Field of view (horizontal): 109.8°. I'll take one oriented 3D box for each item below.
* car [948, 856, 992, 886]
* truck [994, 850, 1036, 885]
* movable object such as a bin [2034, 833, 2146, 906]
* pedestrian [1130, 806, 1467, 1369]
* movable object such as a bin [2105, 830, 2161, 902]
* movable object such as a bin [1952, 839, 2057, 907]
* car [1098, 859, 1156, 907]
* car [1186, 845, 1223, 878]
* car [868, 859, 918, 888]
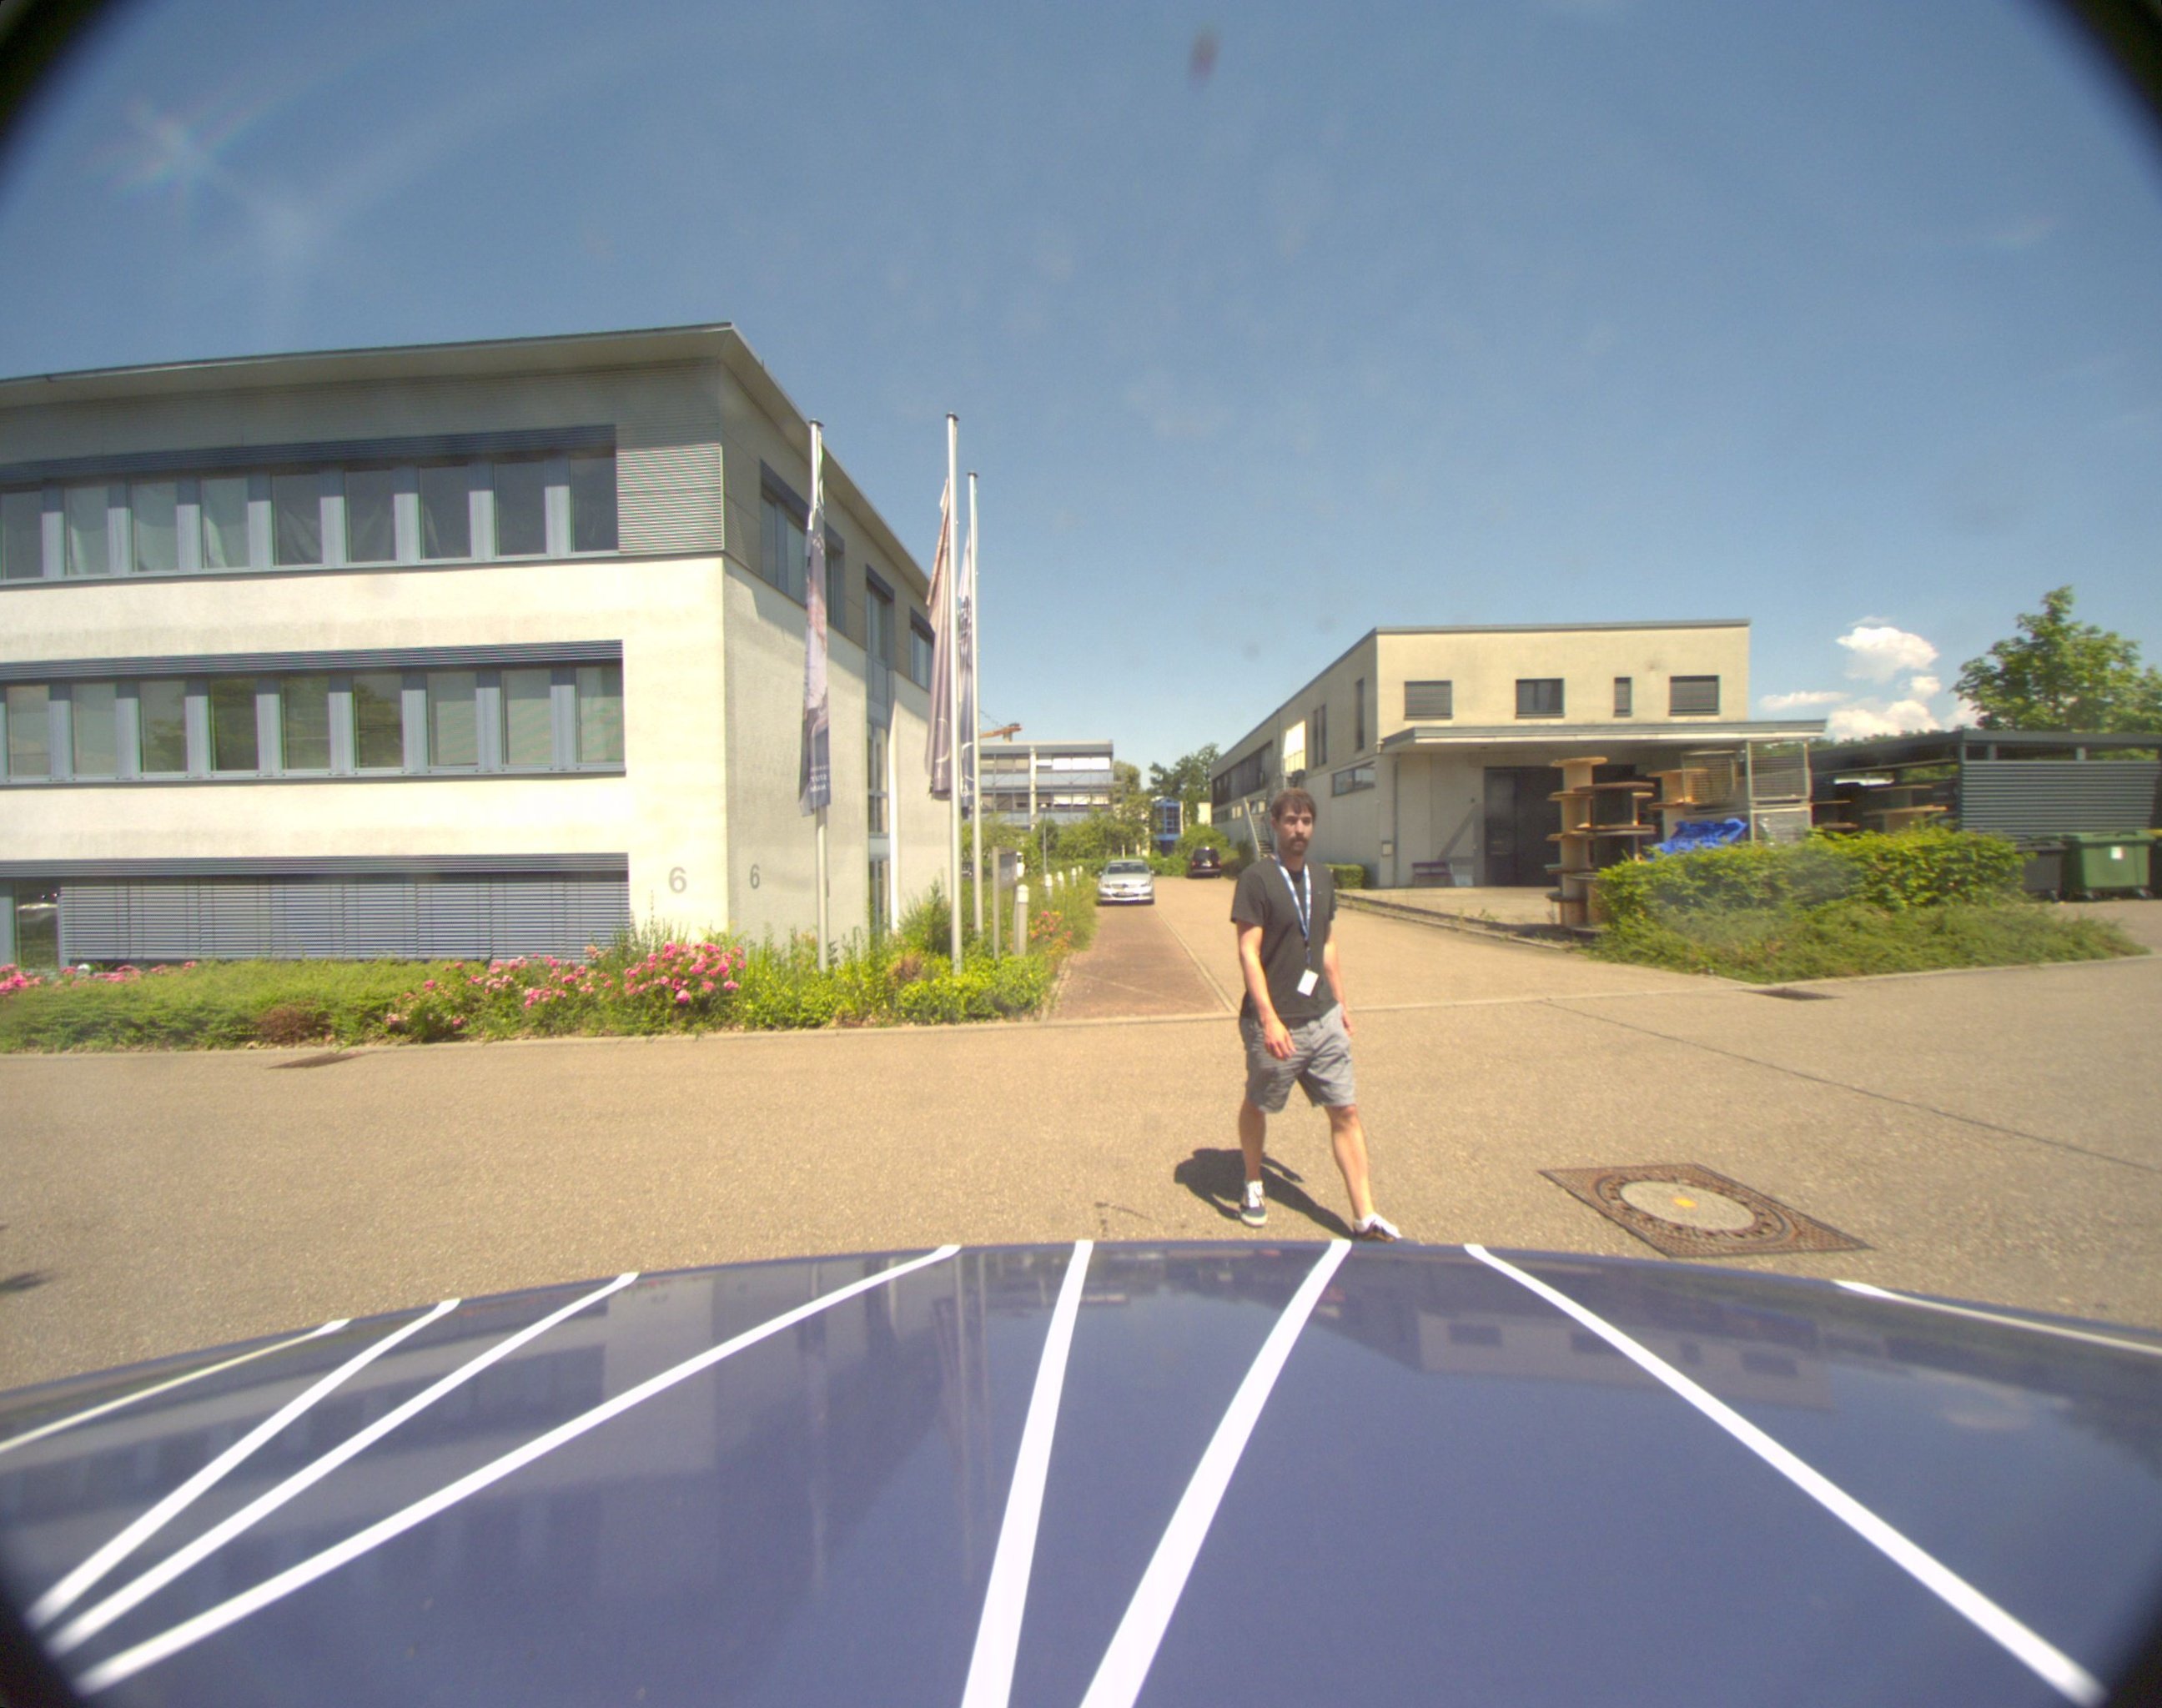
[{"bbox_3d":[-6.633,0.986,45.733,1.787,1.537,4.000,-2,1,3],"label":"car"},{"bbox_3d":[-3.830,0.768,44.938,1.998,1.882,4.000,-2,0,1],"label":"truck"},{"bbox_3d":[19.451,0.291,14.675,1.071,1.329,0.760,-2,1,7],"label":"movable object such as a bin"},{"bbox_3d":[0.814,0.750,3.025,0.861,1.809,0.903,-2,1,-23],"label":"pedestrian"},{"bbox_3d":[20.800,0.218,14.619,1.071,1.329,0.760,-2,1,7],"label":"movable object such as a bin"},{"bbox_3d":[18.130,0.369,14.946,1.071,1.264,0.760,-2,1,7],"label":"movable object such as a bin"},{"bbox_3d":[1.580,0.891,25.042,1.710,1.383,3.812,-1,1,6],"label":"car"},{"bbox_3d":[7.339,0.410,45.352,1.787,1.793,4.001,-2,1,4],"label":"car"},{"bbox_3d":[-11.295,1.161,45.992,1.787,1.537,4.000,-2,1,3],"label":"car"}]
